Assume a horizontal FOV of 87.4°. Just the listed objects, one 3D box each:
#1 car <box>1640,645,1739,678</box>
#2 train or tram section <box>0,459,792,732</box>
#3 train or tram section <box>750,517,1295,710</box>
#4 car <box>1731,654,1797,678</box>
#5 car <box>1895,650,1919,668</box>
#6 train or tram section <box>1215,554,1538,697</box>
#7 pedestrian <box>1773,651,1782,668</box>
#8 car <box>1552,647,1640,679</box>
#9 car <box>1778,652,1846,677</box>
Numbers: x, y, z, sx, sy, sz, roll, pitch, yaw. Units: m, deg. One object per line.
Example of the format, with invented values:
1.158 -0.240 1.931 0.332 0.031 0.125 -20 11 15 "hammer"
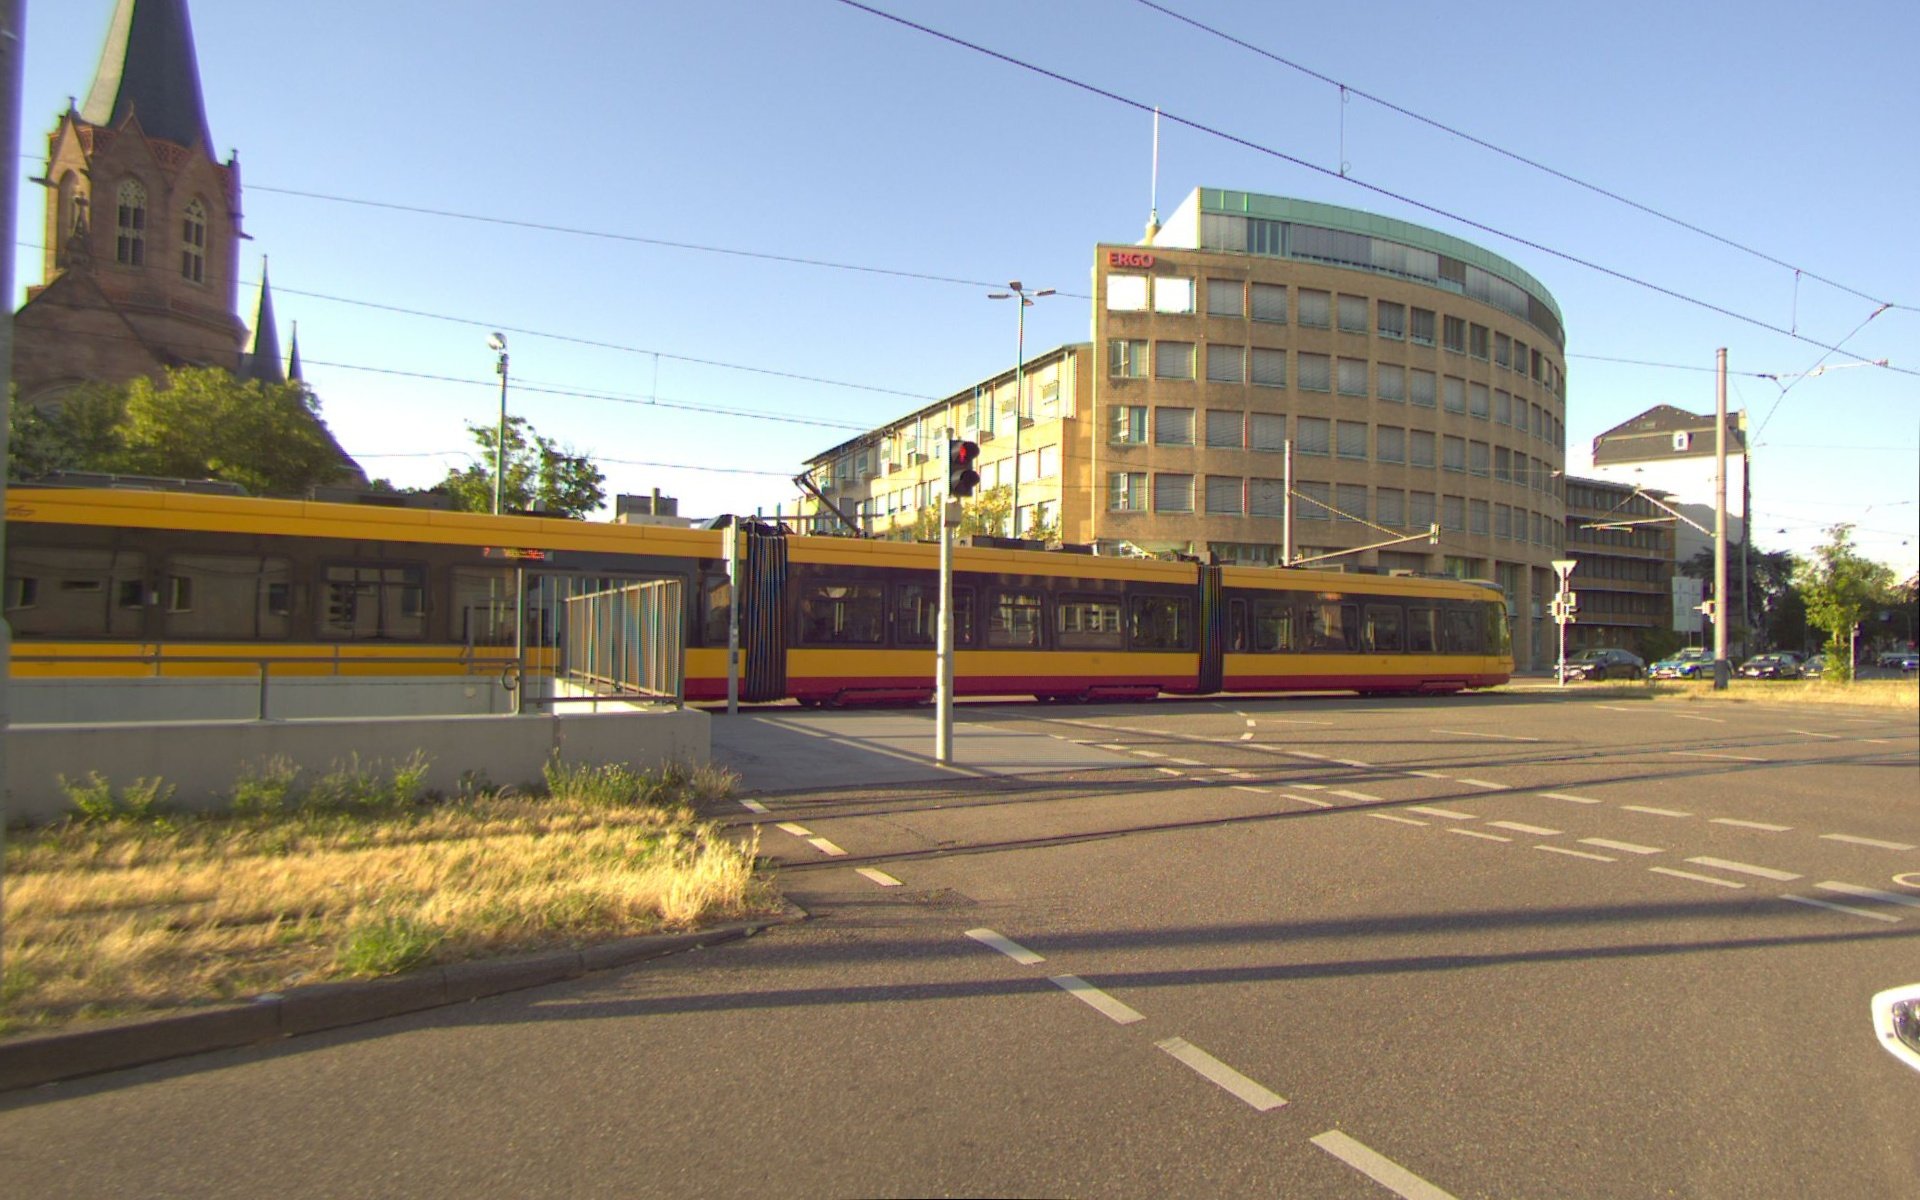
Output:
34.814 2.927 47.908 4.719 1.500 1.883 2 -2 -26 "car"
-9.483 0.088 16.528 13.092 3.582 2.761 2 -2 -30 "train or tram section"
1.996 0.469 23.054 13.092 3.582 2.761 2 -2 -30 "train or tram section"
41.600 3.385 51.942 3.556 1.169 1.513 2 -2 -30 "car"
88.389 5.476 93.491 4.280 1.502 1.753 2 -2 -44 "car"
12.189 0.811 28.866 10.444 3.582 2.761 2 -2 -30 "train or tram section"
68.568 5.002 84.225 0.479 1.449 0.412 1 -2 -29 "pedestrian"
27.908 2.764 44.080 3.742 1.299 1.717 2 -2 -29 "car"
47.184 3.541 55.616 3.694 1.298 1.639 2 -2 -29 "car"
